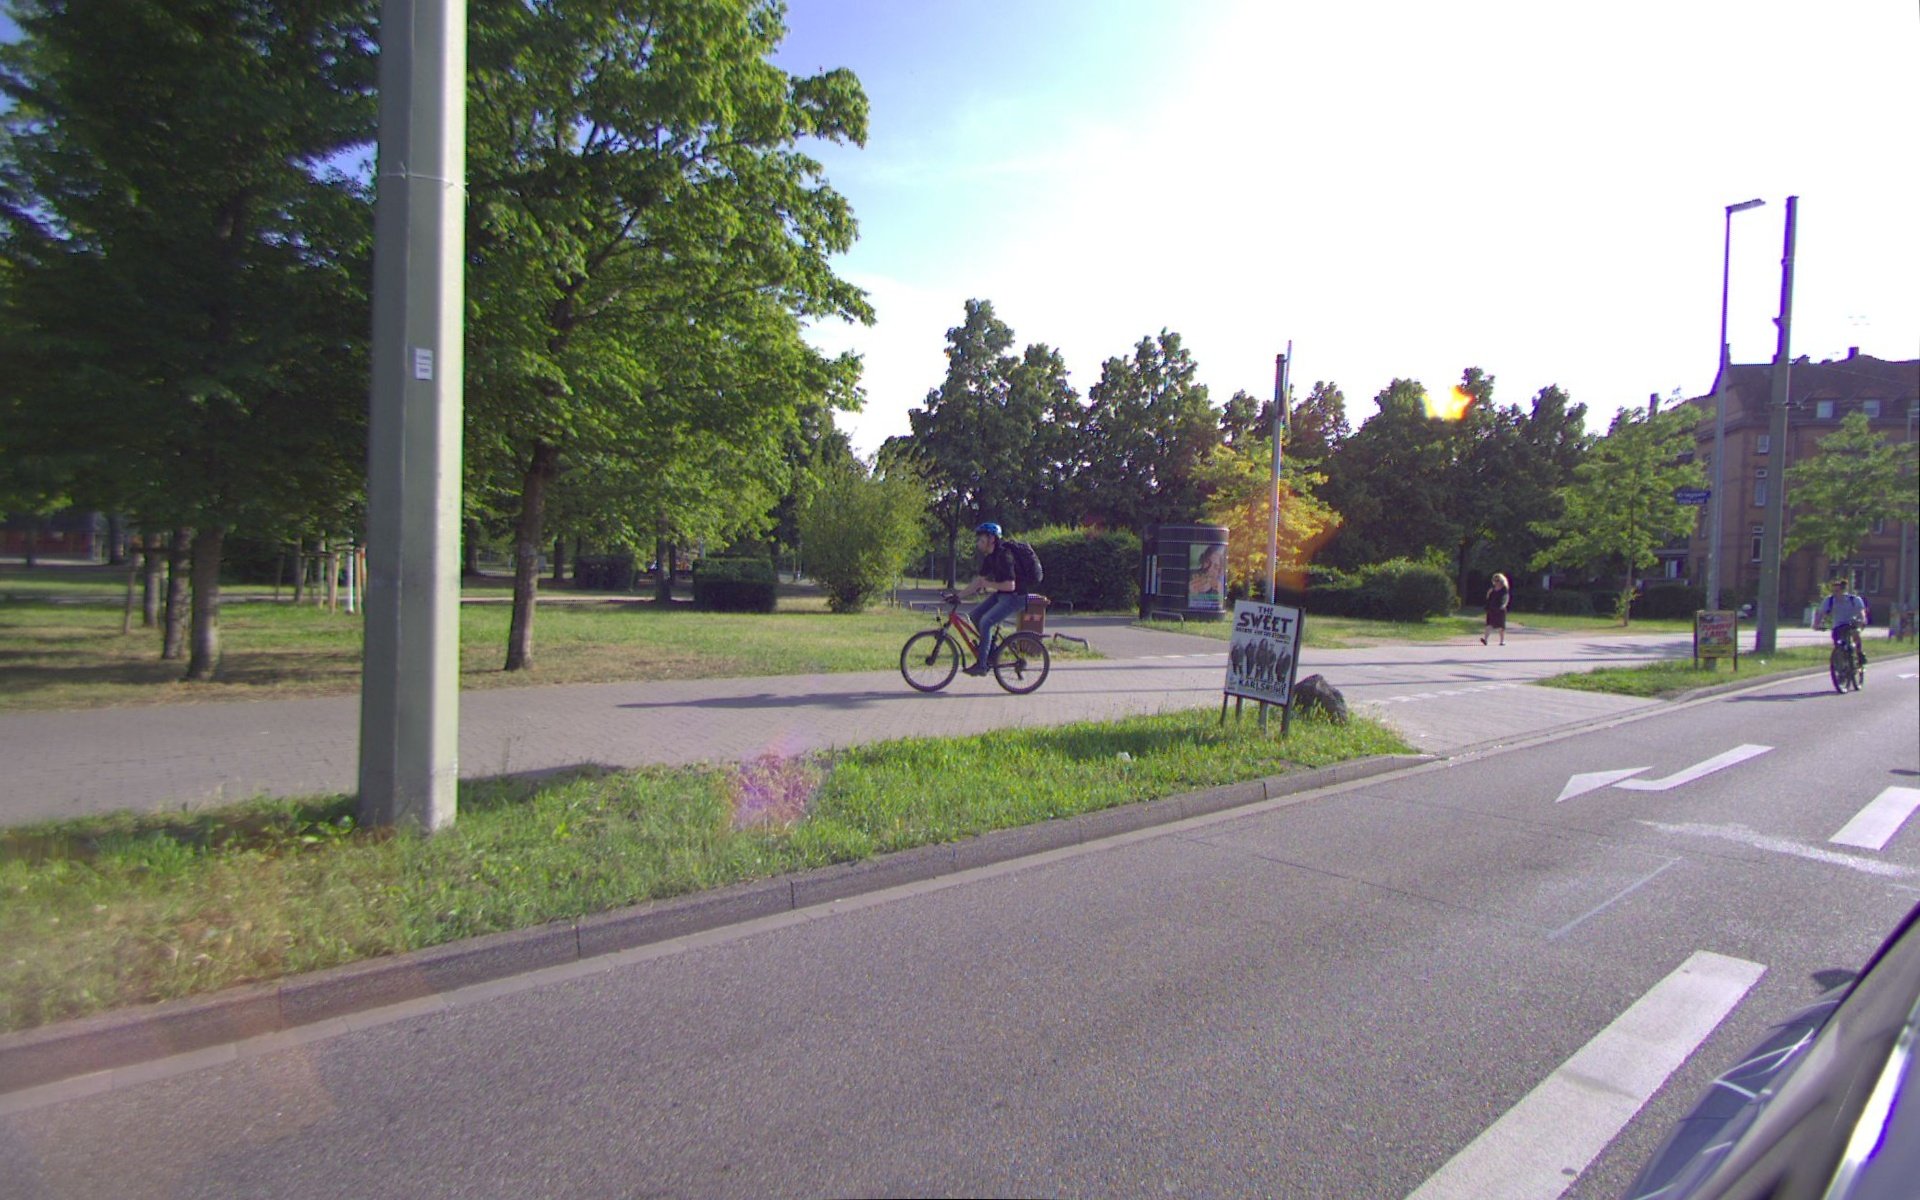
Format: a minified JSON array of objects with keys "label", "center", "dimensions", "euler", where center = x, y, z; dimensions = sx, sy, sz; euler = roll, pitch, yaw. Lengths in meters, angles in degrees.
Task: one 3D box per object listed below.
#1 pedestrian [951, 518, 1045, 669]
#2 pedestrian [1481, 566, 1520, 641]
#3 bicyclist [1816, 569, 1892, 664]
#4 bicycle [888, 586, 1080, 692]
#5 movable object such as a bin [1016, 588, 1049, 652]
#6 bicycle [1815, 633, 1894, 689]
[{"label":"pedestrian","center":[0.394,-0.073,10.760],"dimensions":[0.827,1.540,0.639],"euler":[0,0,-18]},{"label":"pedestrian","center":[12.576,0.077,23.559],"dimensions":[0.607,1.706,0.621],"euler":[1,0,-40]},{"label":"bicyclist","center":[14.609,0.258,16.533],"dimensions":[1.090,1.472,0.689],"euler":[1,2,-38]},{"label":"bicycle","center":[0.251,0.384,10.783],"dimensions":[1.939,1.059,0.653],"euler":[0,0,-18]},{"label":"movable object such as a bin","center":[1.100,0.302,15.431],"dimensions":[0.447,0.929,0.605],"euler":[2,2,1]},{"label":"bicycle","center":[14.604,0.968,16.500],"dimensions":[2.003,0.803,0.567],"euler":[0,2,-38]}]
